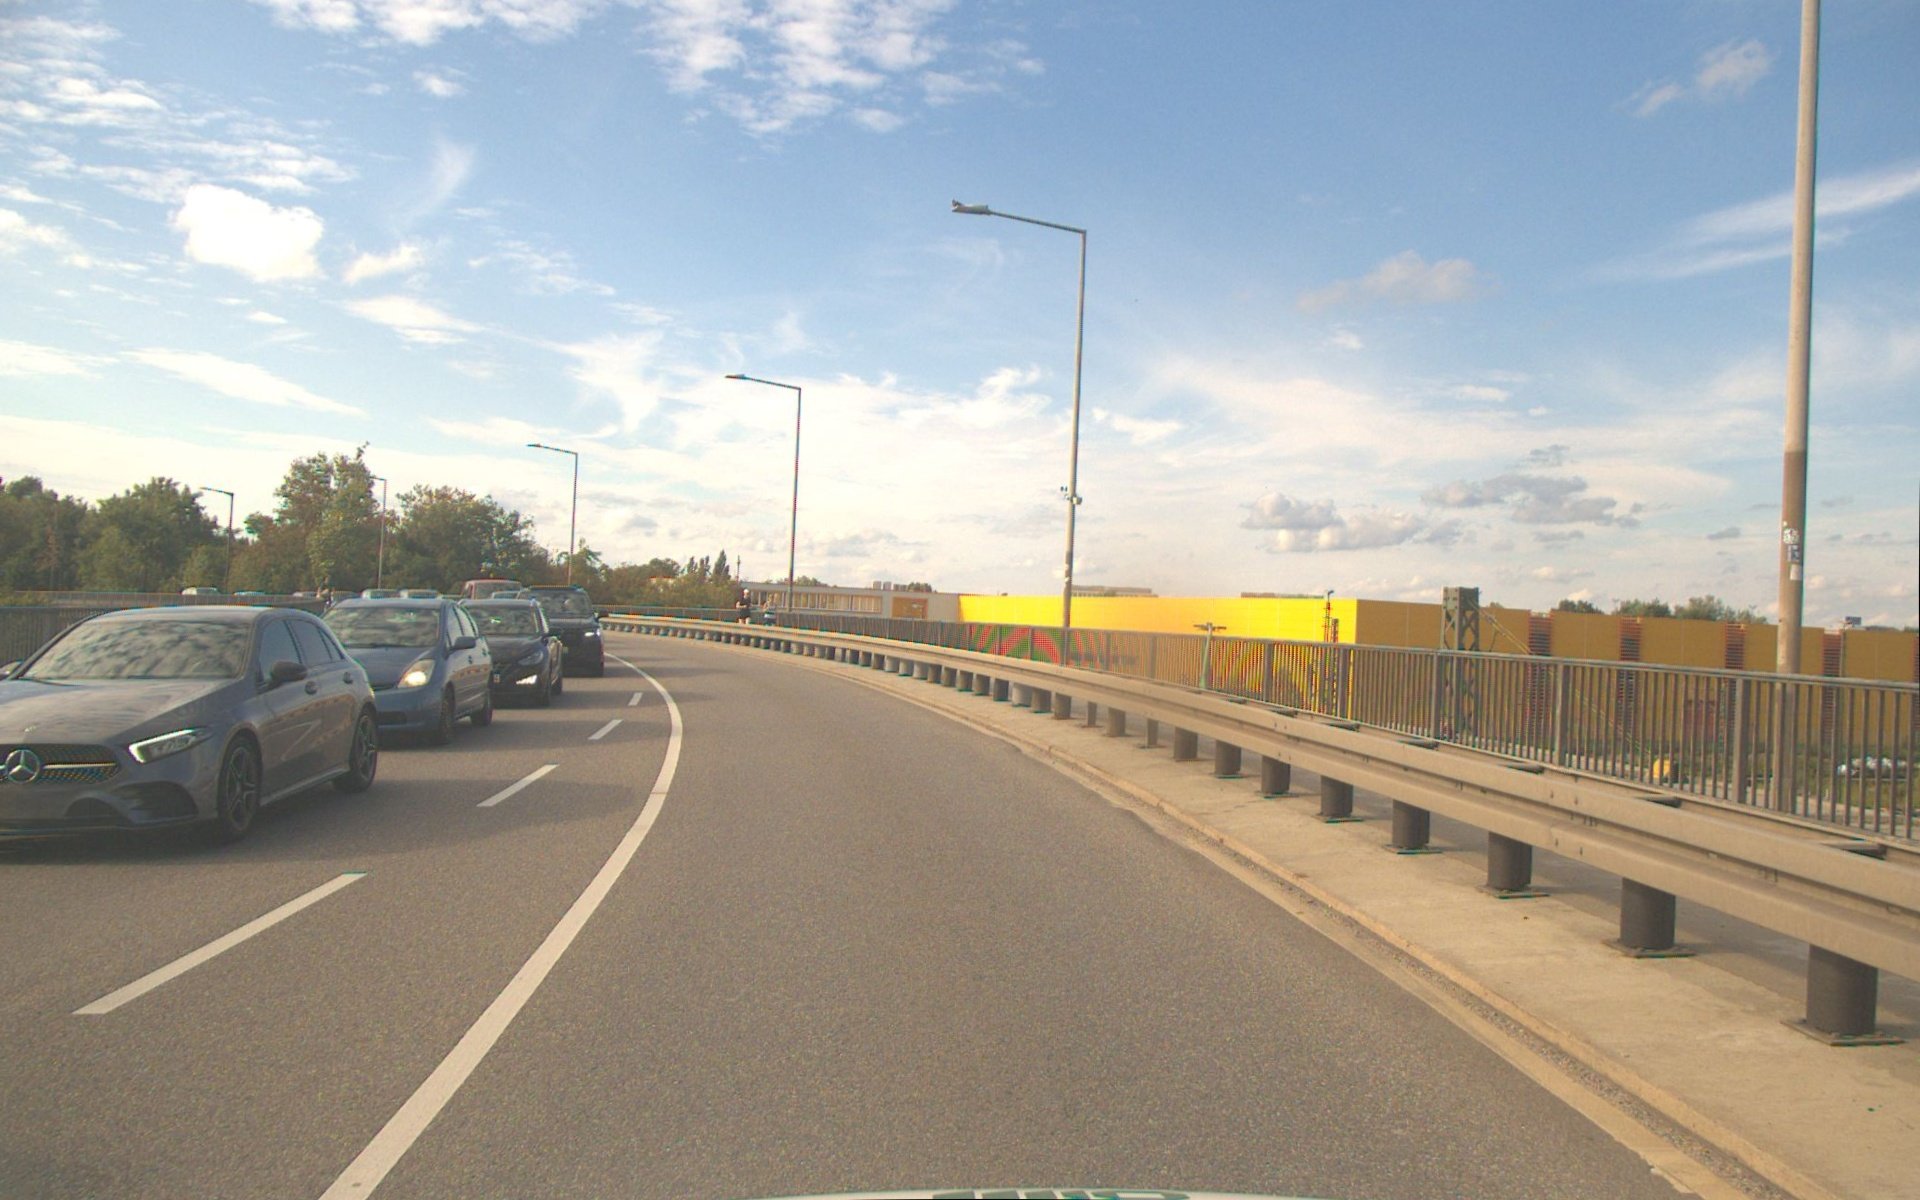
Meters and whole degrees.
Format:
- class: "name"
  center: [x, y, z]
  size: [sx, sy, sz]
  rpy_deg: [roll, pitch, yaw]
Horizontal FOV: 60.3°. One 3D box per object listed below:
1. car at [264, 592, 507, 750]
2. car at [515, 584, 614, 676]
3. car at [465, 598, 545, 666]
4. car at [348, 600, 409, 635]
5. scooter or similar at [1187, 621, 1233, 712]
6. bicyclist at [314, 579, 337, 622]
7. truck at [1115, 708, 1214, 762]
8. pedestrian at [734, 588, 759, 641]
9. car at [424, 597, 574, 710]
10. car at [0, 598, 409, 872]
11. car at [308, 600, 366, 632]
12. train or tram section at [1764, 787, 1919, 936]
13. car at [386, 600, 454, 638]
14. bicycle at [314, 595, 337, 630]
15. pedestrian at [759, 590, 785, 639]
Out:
- class: "car"
  center: [-6.143, 0.680, 18.179]
  size: [1.727, 1.516, 4.382]
  rpy_deg: [0, 0, -8]
- class: "car"
  center: [-7.881, 0.556, 33.210]
  size: [1.797, 1.701, 4.851]
  rpy_deg: [0, 0, -12]
- class: "car"
  center: [-13.762, 0.917, 49.897]
  size: [1.977, 1.936, 4.839]
  rpy_deg: [0, 0, -20]
- class: "car"
  center: [-26.159, 0.770, 74.355]
  size: [1.724, 1.527, 4.031]
  rpy_deg: [0, 0, -33]
- class: "scooter or similar"
  center: [3.354, 0.878, 22.240]
  size: [0.260, 1.182, 1.186]
  rpy_deg: [0, -1, -9]
- class: "bicyclist"
  center: [-25.181, 0.014, 65.641]
  size: [0.757, 1.690, 1.111]
  rpy_deg: [1, -1, -25]
- class: "truck"
  center: [15.576, 10.270, 126.082]
  size: [7.111, 3.681, 2.648]
  rpy_deg: [1, 1, -23]
- class: "pedestrian"
  center: [-6.981, 0.473, 53.987]
  size: [0.666, 1.690, 0.861]
  rpy_deg: [1, -1, -17]
- class: "car"
  center: [-6.758, 0.715, 24.608]
  size: [1.728, 1.516, 4.434]
  rpy_deg: [0, 0, -10]
- class: "car"
  center: [-5.212, 0.738, 11.176]
  size: [1.777, 1.482, 4.321]
  rpy_deg: [1, 0, -4]
- class: "car"
  center: [-30.726, 0.783, 81.472]
  size: [1.726, 1.527, 4.027]
  rpy_deg: [0, 0, -35]
- class: "train or tram section"
  center: [39.013, 10.014, 65.601]
  size: [16.475, 4.795, 3.073]
  rpy_deg: [1, -1, -24]
- class: "car"
  center: [-22.196, 0.759, 67.875]
  size: [1.724, 1.527, 4.031]
  rpy_deg: [0, 0, -33]
- class: "bicycle"
  center: [-25.155, 0.490, 65.567]
  size: [0.754, 1.355, 1.901]
  rpy_deg: [1, -1, -25]
- class: "pedestrian"
  center: [-6.160, 0.481, 54.276]
  size: [0.666, 1.571, 0.956]
  rpy_deg: [1, -1, -17]
